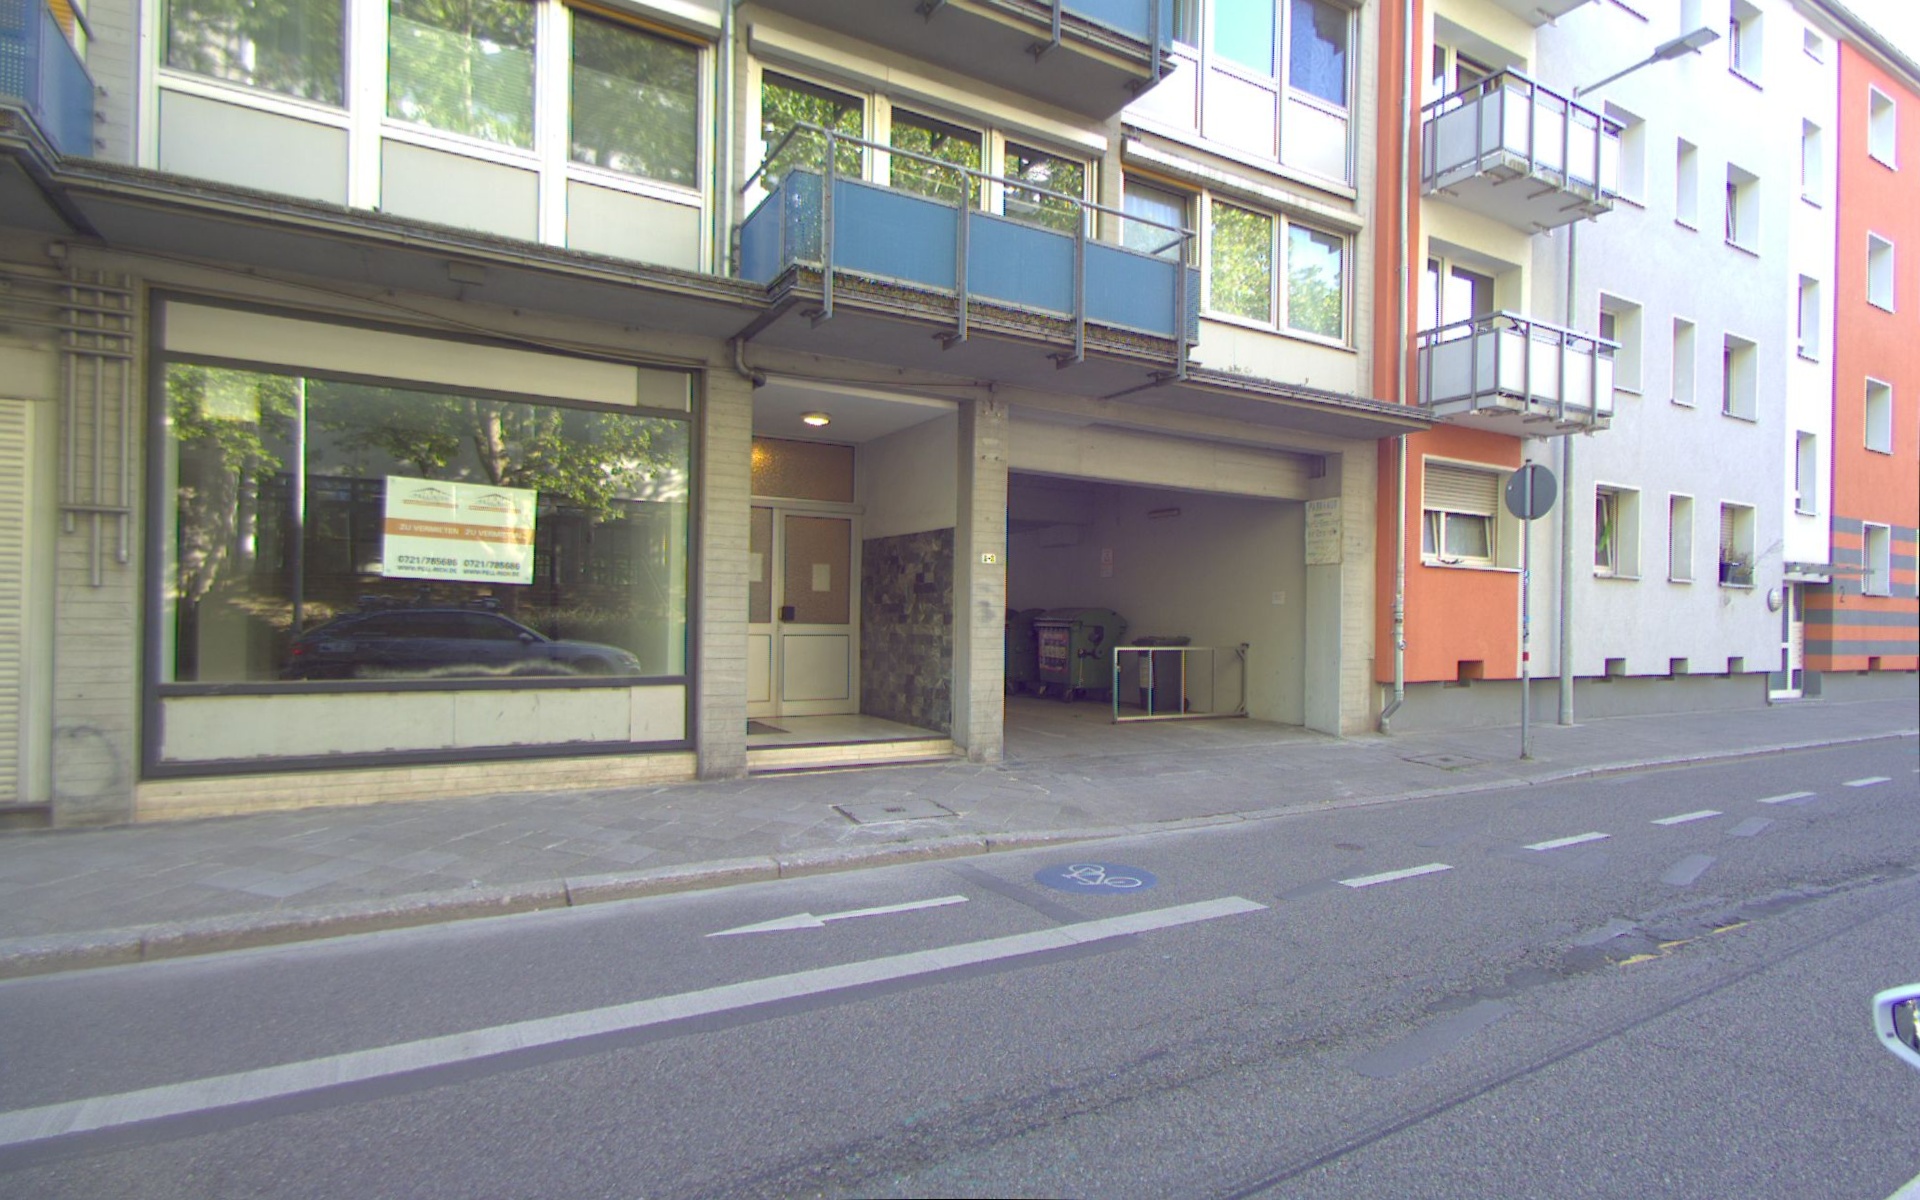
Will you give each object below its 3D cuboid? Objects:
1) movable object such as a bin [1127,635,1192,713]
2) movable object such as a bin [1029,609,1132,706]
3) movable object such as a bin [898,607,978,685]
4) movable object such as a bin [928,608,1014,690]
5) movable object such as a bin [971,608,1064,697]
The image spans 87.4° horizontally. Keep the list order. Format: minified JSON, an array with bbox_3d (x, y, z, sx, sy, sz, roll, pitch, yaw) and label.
[{"bbox_3d":[2.879,1.053,14.498,0.667,1.079,0.639,1,0,-30],"label":"movable object such as a bin"},{"bbox_3d":[1.882,0.871,15.808,1.116,1.444,1.201,1,0,-30],"label":"movable object such as a bin"},{"bbox_3d":[-0.448,0.879,19.615,1.116,1.444,1.201,1,0,-30],"label":"movable object such as a bin"},{"bbox_3d":[0.200,0.872,18.466,1.116,1.444,1.201,1,0,-30],"label":"movable object such as a bin"},{"bbox_3d":[0.970,0.866,17.168,1.116,1.444,1.201,1,0,-30],"label":"movable object such as a bin"}]
